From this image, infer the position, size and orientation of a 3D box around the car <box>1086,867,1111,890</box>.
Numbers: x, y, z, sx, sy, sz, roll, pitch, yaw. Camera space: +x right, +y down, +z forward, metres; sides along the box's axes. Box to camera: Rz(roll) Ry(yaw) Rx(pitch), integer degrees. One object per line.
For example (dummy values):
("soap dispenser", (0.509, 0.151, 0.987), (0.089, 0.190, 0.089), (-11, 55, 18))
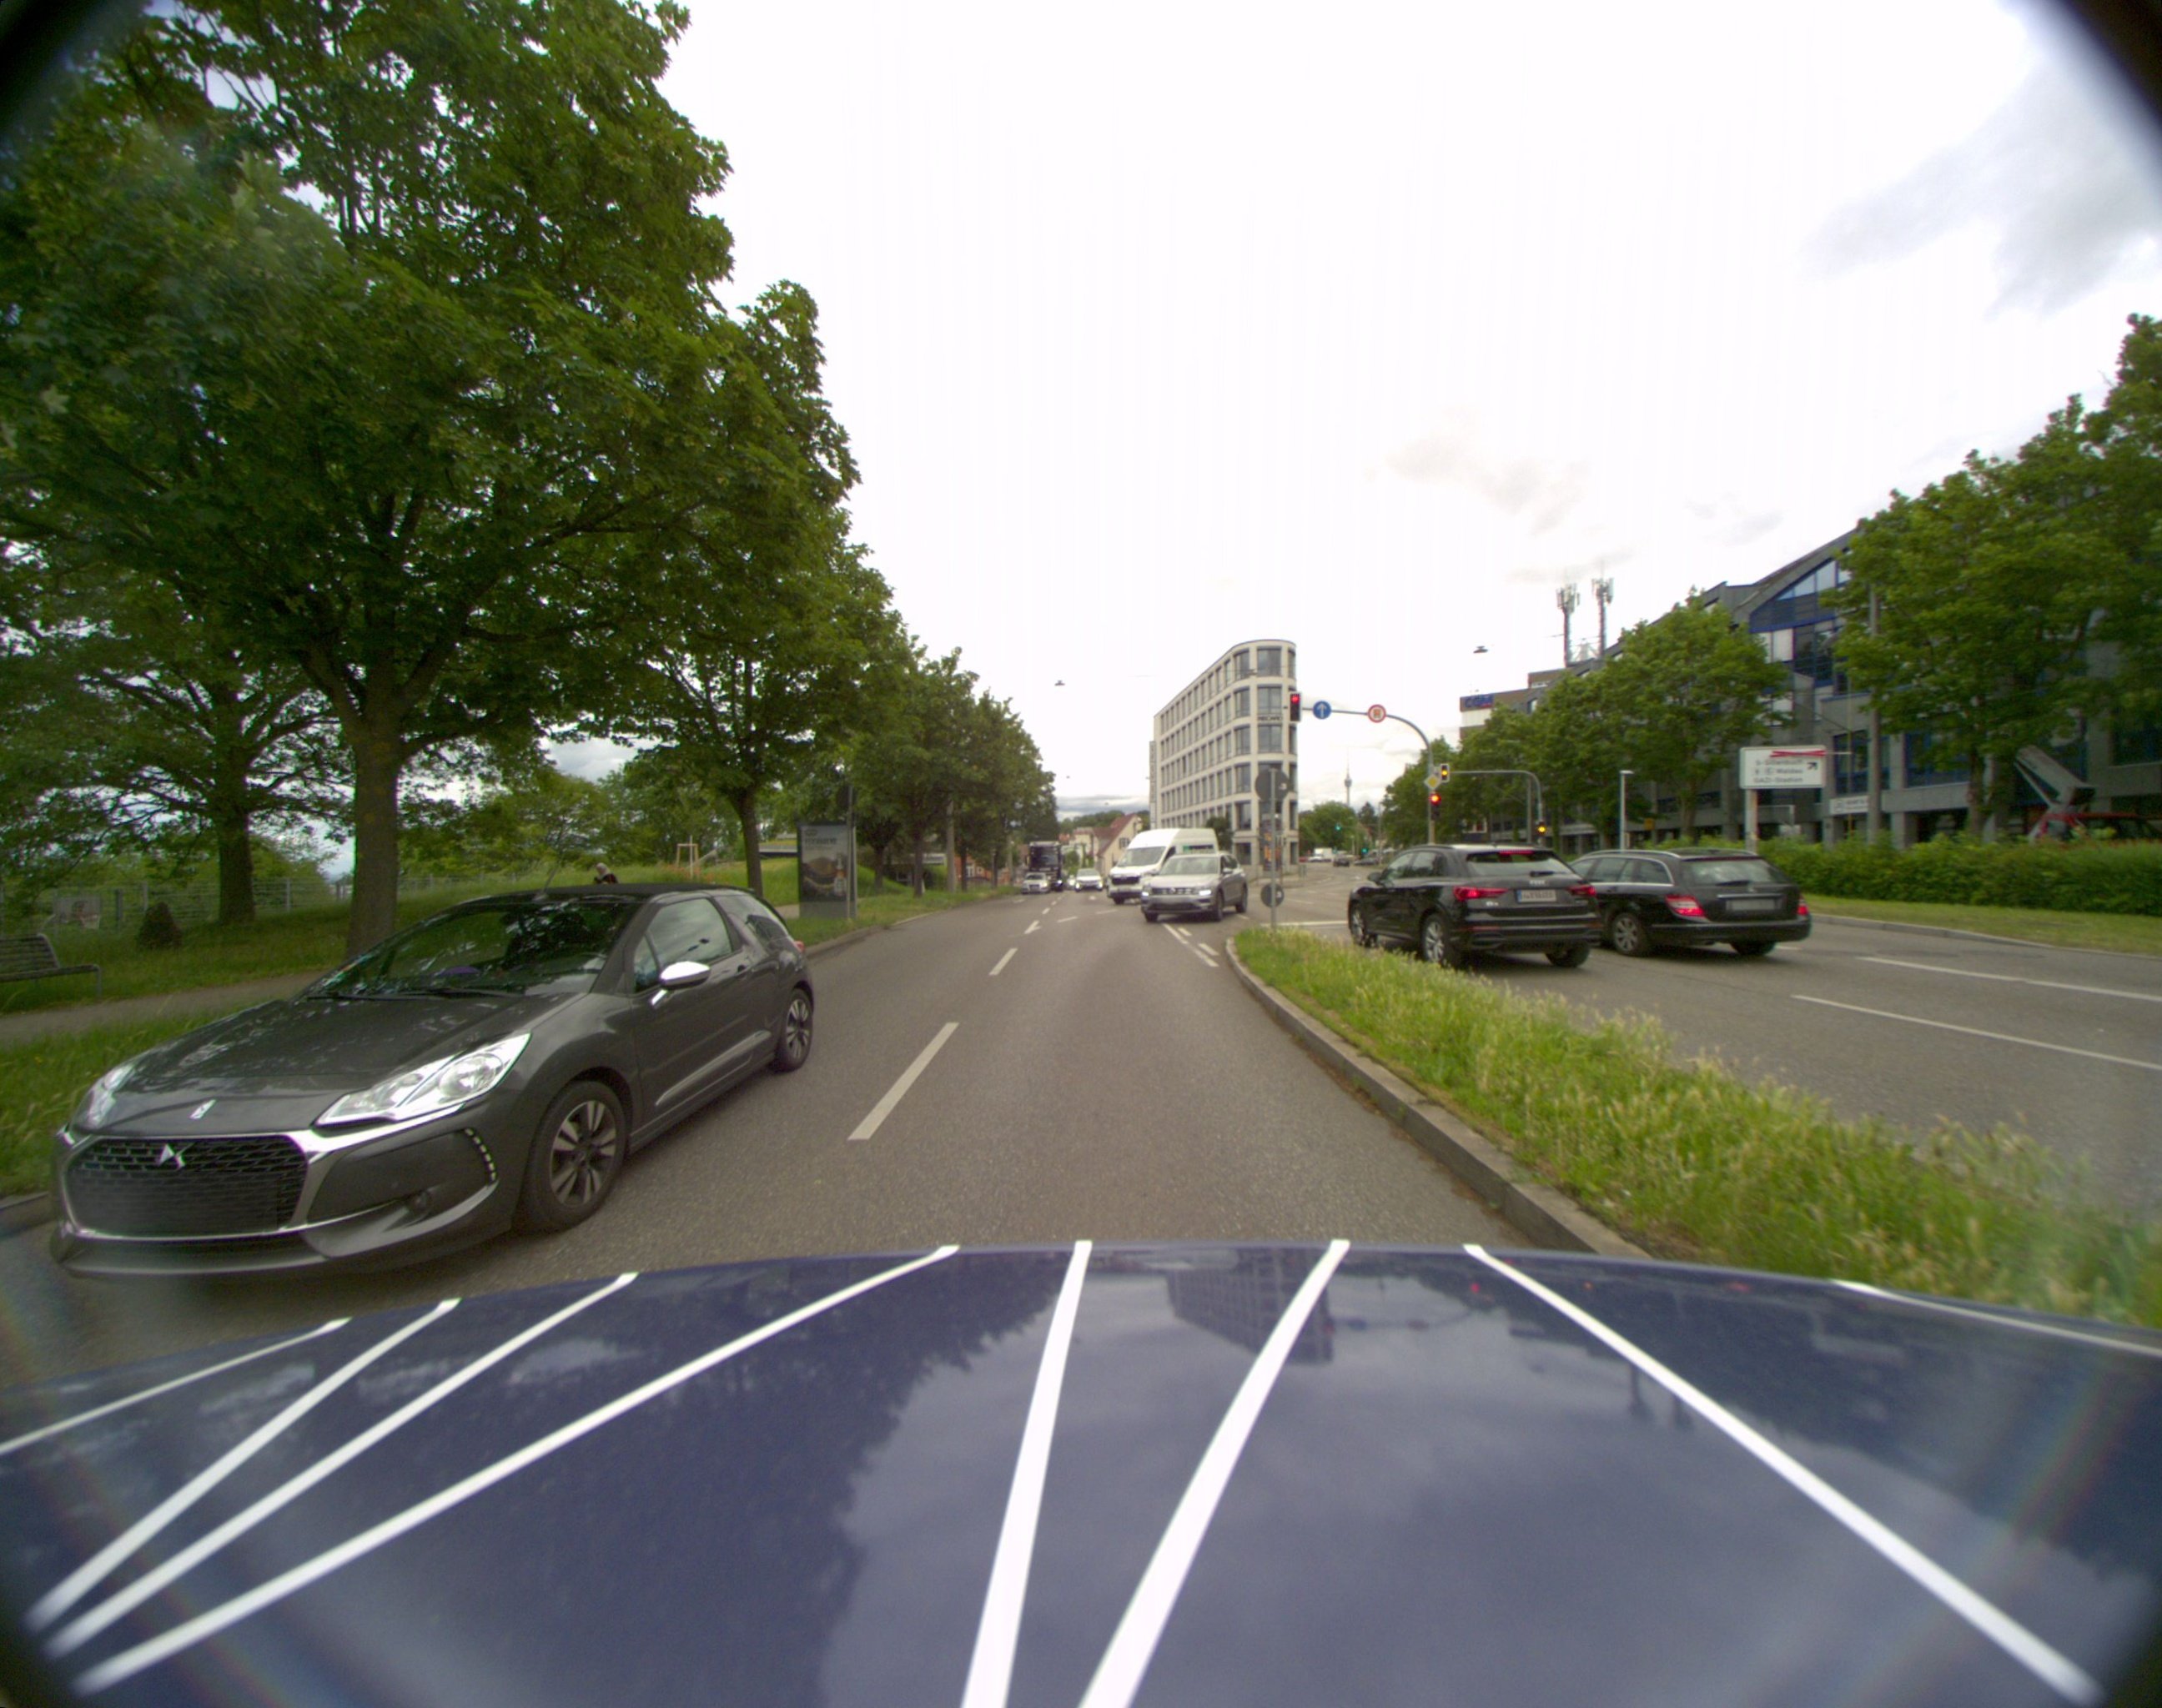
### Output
("car", (1.476, 2.103, 65.538), (1.755, 1.786, 4.287), (-2, -1, -2))

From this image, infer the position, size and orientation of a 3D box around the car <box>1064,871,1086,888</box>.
("car", (-0.603, 2.656, 78.481), (1.737, 1.558, 4.325), (-4, -1, -7))

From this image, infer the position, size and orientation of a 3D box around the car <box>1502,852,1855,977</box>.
("car", (8.262, 0.758, 11.163), (1.787, 1.417, 4.397), (-2, -1, 2))

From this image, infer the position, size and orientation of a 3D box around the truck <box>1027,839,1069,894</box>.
("truck", (-2.426, 0.953, 59.711), (2.827, 3.902, 9.458), (-2, 0, -1))

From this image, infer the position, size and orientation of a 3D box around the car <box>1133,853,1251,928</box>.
("car", (2.912, 0.843, 19.065), (1.831, 1.636, 4.333), (-2, 0, 23))

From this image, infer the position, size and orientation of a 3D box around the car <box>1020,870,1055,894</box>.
("car", (-2.848, 1.835, 50.401), (1.988, 1.434, 4.159), (-2, 0, 0))

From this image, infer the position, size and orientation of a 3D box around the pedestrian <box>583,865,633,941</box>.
("pedestrian", (-10.381, 1.056, 16.696), (0.542, 1.594, 0.702), (4, 0, 1))

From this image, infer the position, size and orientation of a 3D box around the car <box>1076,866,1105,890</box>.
("car", (0.653, 1.624, 51.649), (1.855, 1.520, 4.489), (-2, -2, 0))

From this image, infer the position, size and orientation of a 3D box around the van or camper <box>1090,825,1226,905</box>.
("van or camper", (3.073, 0.366, 28.591), (2.106, 2.674, 6.312), (-2, 0, 36))

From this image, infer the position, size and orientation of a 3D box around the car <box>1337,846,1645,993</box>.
("car", (5.276, 0.764, 10.613), (1.893, 1.555, 4.396), (-2, -1, 0))

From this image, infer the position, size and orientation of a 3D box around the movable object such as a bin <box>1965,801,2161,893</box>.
("movable object such as a bin", (29.879, -0.209, 23.043), (1.908, 2.517, 4.131), (-1, 0, 12))

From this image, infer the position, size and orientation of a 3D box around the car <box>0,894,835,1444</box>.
("car", (-2.988, 1.078, 4.335), (1.705, 1.452, 4.063), (-2, 0, 1))
